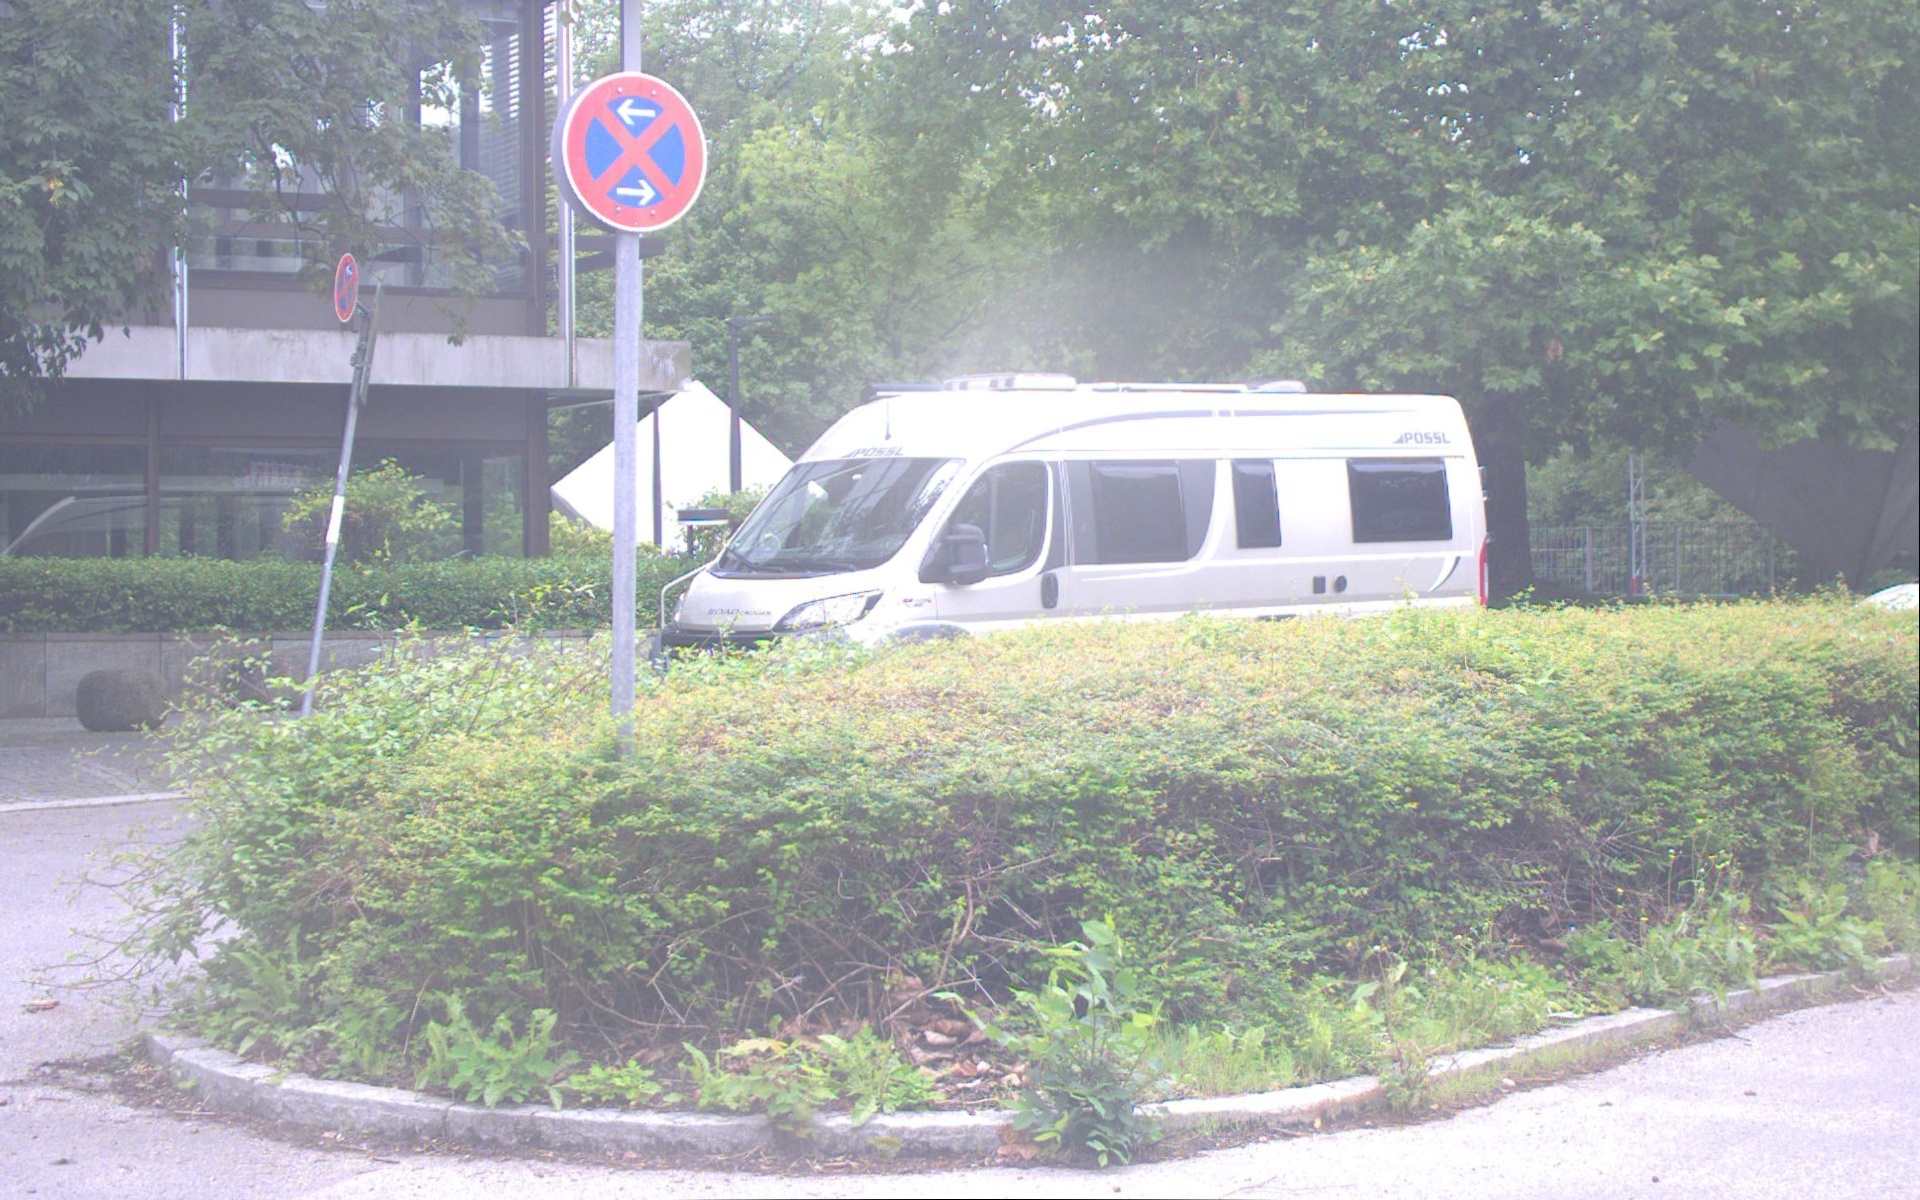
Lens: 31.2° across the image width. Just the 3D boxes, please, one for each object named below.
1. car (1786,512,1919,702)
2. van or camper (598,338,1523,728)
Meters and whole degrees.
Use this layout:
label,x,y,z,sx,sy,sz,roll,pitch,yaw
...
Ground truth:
label,x,y,z,sx,sy,sz,roll,pitch,yaw
car,9.096,0.028,28.553,3.986,1.503,2.000,-1,1,-27
van or camper,0.848,-0.424,23.034,6.401,2.273,2.254,-1,1,-42
